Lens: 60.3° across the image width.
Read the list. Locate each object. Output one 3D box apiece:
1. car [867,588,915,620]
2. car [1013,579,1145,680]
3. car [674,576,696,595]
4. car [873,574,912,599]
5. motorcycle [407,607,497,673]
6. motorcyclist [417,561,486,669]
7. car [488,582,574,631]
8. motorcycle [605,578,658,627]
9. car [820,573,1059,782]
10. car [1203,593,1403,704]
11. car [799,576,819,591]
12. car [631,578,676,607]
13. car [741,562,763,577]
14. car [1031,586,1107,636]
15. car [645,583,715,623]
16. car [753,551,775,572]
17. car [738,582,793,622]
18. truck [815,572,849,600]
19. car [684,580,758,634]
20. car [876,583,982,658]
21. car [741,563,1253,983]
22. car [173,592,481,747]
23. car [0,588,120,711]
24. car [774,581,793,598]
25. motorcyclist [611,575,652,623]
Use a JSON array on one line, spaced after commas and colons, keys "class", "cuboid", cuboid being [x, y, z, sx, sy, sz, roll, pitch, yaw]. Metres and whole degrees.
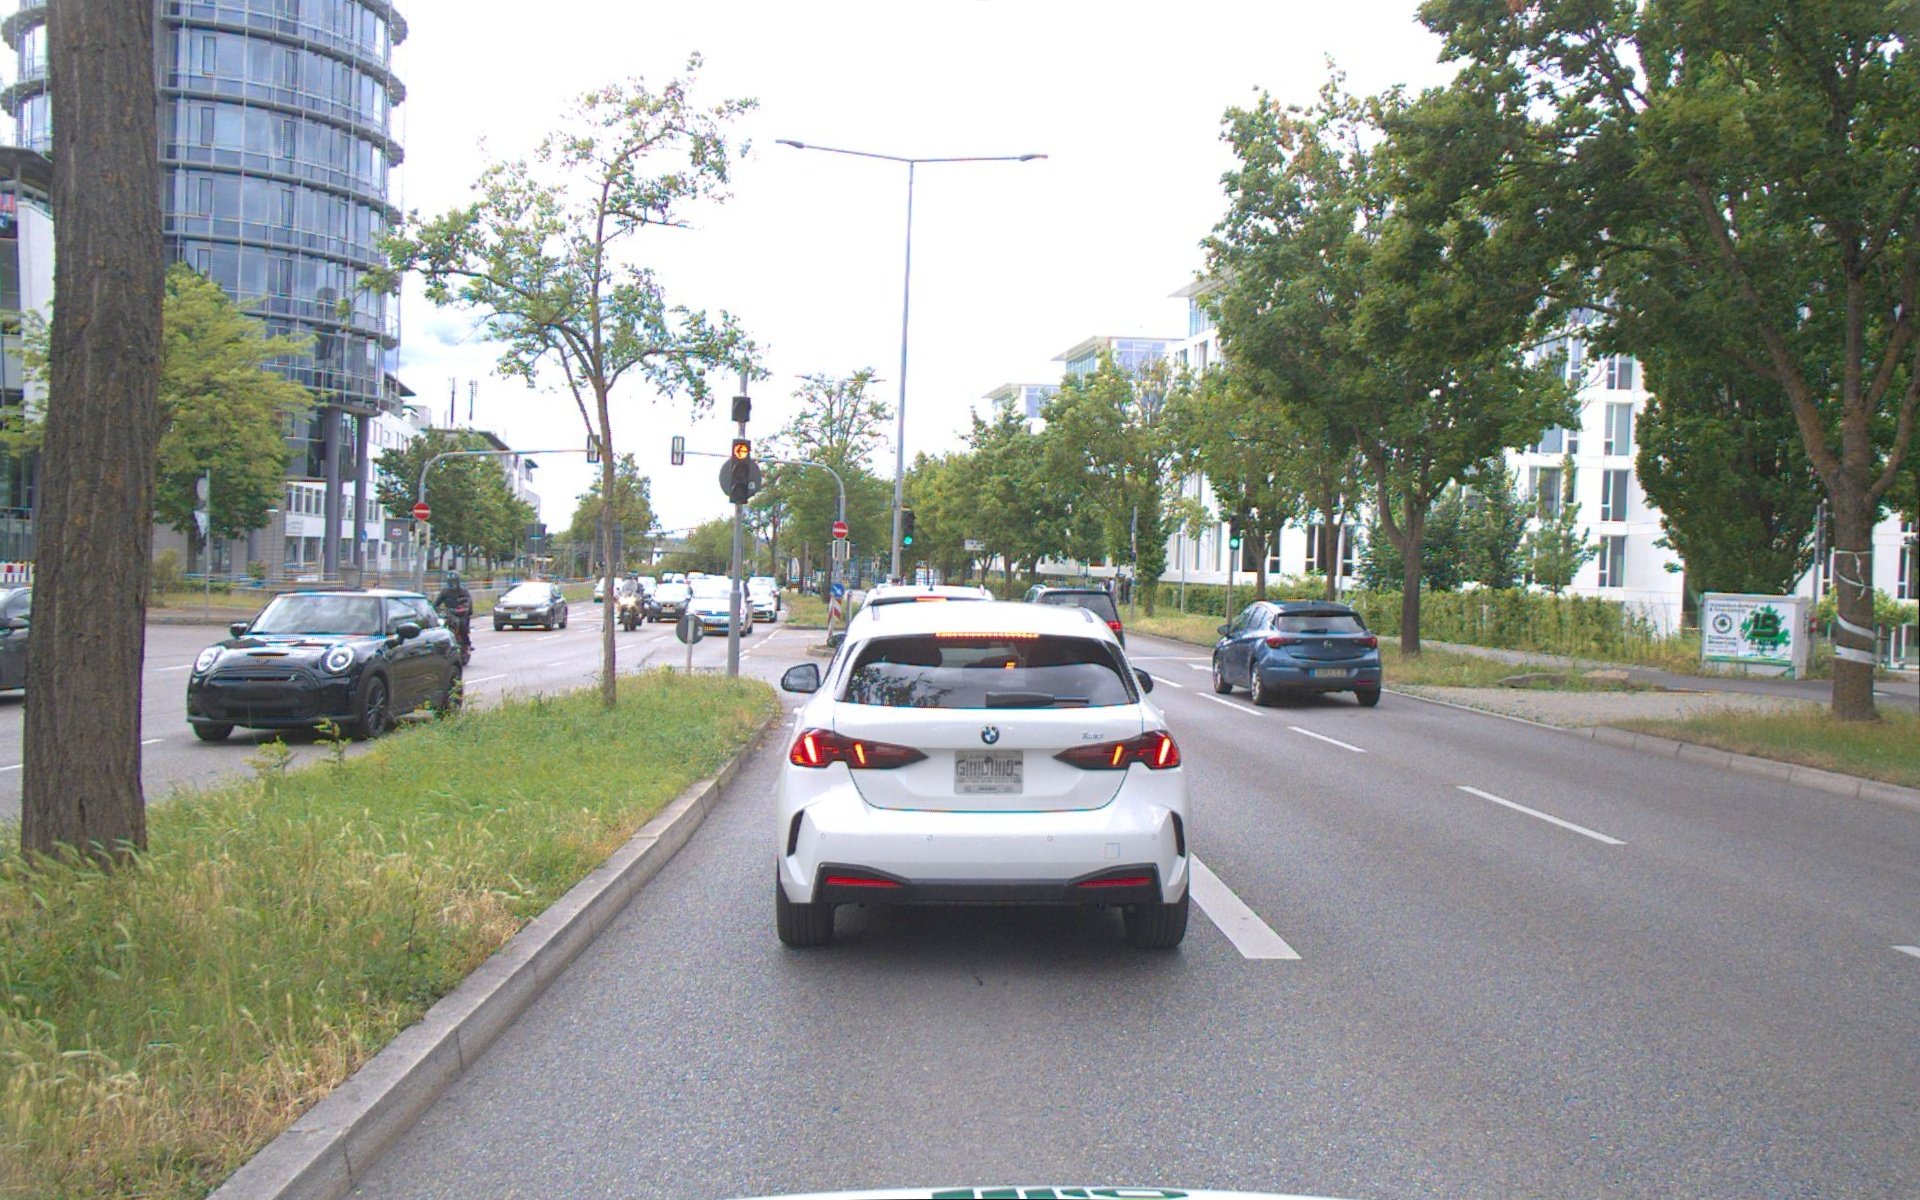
[{"class": "car", "cuboid": [-3.674, 0.173, 86.973, 2.015, 1.512, 4.965, -3, 1, -8]}, {"class": "car", "cuboid": [2.054, 0.473, 29.656, 1.927, 1.669, 4.311, 0, 0, -2]}, {"class": "car", "cuboid": [-30.771, -1.589, 185.096, 1.954, 2.046, 4.321, 1, 0, -4]}, {"class": "car", "cuboid": [-4.521, -0.920, 110.873, 1.958, 1.624, 3.989, 2, 0, -12]}, {"class": "motorcycle", "cuboid": [-9.132, 0.700, 29.834, 0.821, 1.083, 2.652, 1, 0, -1]}, {"class": "motorcyclist", "cuboid": [-9.122, 0.260, 29.706, 0.831, 1.869, 1.259, 1, 0, -1]}, {"class": "car", "cuboid": [-13.096, 0.173, 50.702, 1.673, 1.443, 3.802, 0, 0, -1]}, {"class": "motorcycle", "cuboid": [-10.034, 0.051, 50.703, 0.871, 1.422, 3.999, 1, 0, -1]}, {"class": "car", "cuboid": [-0.172, 0.653, 15.826, 1.953, 1.701, 4.000, 2, 0, 0]}, {"class": "car", "cuboid": [4.940, 0.637, 24.428, 1.927, 1.464, 4.311, -1, 0, -2]}, {"class": "car", "cuboid": [-16.116, -1.747, 176.352, 1.956, 1.534, 3.993, 1, 0, -8]}, {"class": "car", "cuboid": [-15.918, -0.401, 86.114, 1.673, 1.443, 3.802, 0, 0, -1]}, {"class": "car", "cuboid": [-24.003, -3.525, 191.037, 1.953, 1.646, 3.999, 3, 0, -1]}, {"class": "car", "cuboid": [3.436, 0.337, 52.766, 1.758, 1.498, 4.695, 2, 0, -4]}, {"class": "car", "cuboid": [-10.392, 0.096, 61.722, 1.953, 1.378, 3.999, 1, 0, -1]}, {"class": "car", "cuboid": [-20.624, -4.017, 173.994, 1.954, 2.045, 4.321, 3, 0, -4]}, {"class": "car", "cuboid": [-7.451, 0.065, 63.626, 1.633, 1.429, 3.999, 1, 0, -1]}, {"class": "truck", "cuboid": [-12.403, -1.348, 160.203, 2.806, 2.563, 6.276, 2, 0, -8]}, {"class": "car", "cuboid": [-6.998, 0.180, 48.662, 1.673, 1.523, 3.802, 0, 0, -1]}, {"class": "car", "cuboid": [-0.639, 0.448, 37.117, 1.951, 1.534, 4.002, 2, 0, 5]}, {"class": "car", "cuboid": [0.187, 0.633, 8.015, 1.824, 1.474, 4.001, 2, 0, 1]}, {"class": "car", "cuboid": [-6.282, 0.621, 16.877, 1.718, 1.395, 3.779, 0, 0, -1]}, {"class": "car", "cuboid": [-12.165, 0.579, 20.311, 1.673, 1.443, 4.018, 0, 0, -1]}, {"class": "car", "cuboid": [-21.959, -1.367, 206.313, 1.953, 2.049, 3.999, 1, 0, -1]}, {"class": "motorcyclist", "cuboid": [-10.029, -0.038, 50.560, 0.891, 1.416, 1.673, 1, 0, -1]}]
